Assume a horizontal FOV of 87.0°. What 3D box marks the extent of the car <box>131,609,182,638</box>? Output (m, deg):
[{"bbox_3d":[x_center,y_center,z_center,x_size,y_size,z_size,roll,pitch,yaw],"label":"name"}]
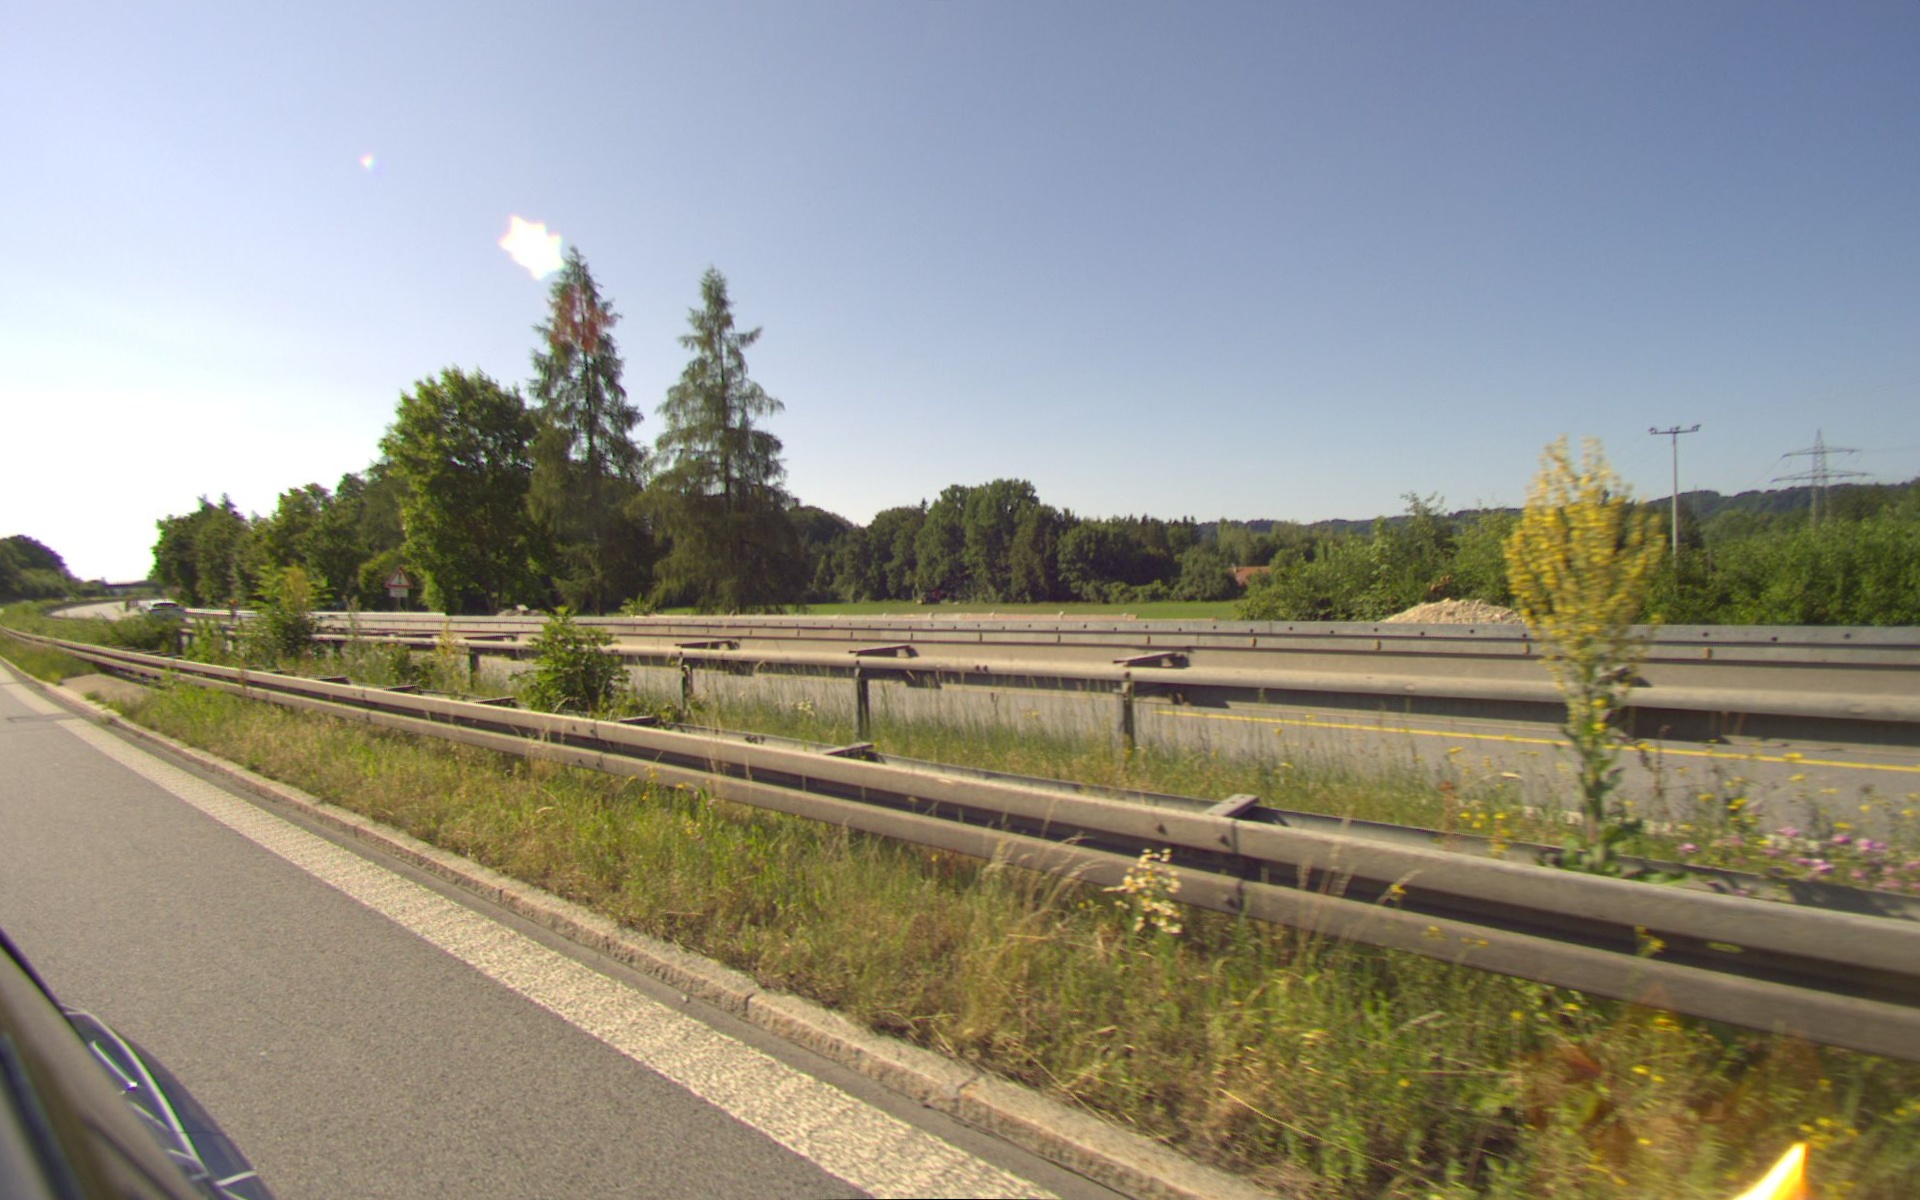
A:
[{"bbox_3d":[-44.736,1.268,56.311,1.740,1.523,4.537,-1,0,-45],"label":"car"}]
